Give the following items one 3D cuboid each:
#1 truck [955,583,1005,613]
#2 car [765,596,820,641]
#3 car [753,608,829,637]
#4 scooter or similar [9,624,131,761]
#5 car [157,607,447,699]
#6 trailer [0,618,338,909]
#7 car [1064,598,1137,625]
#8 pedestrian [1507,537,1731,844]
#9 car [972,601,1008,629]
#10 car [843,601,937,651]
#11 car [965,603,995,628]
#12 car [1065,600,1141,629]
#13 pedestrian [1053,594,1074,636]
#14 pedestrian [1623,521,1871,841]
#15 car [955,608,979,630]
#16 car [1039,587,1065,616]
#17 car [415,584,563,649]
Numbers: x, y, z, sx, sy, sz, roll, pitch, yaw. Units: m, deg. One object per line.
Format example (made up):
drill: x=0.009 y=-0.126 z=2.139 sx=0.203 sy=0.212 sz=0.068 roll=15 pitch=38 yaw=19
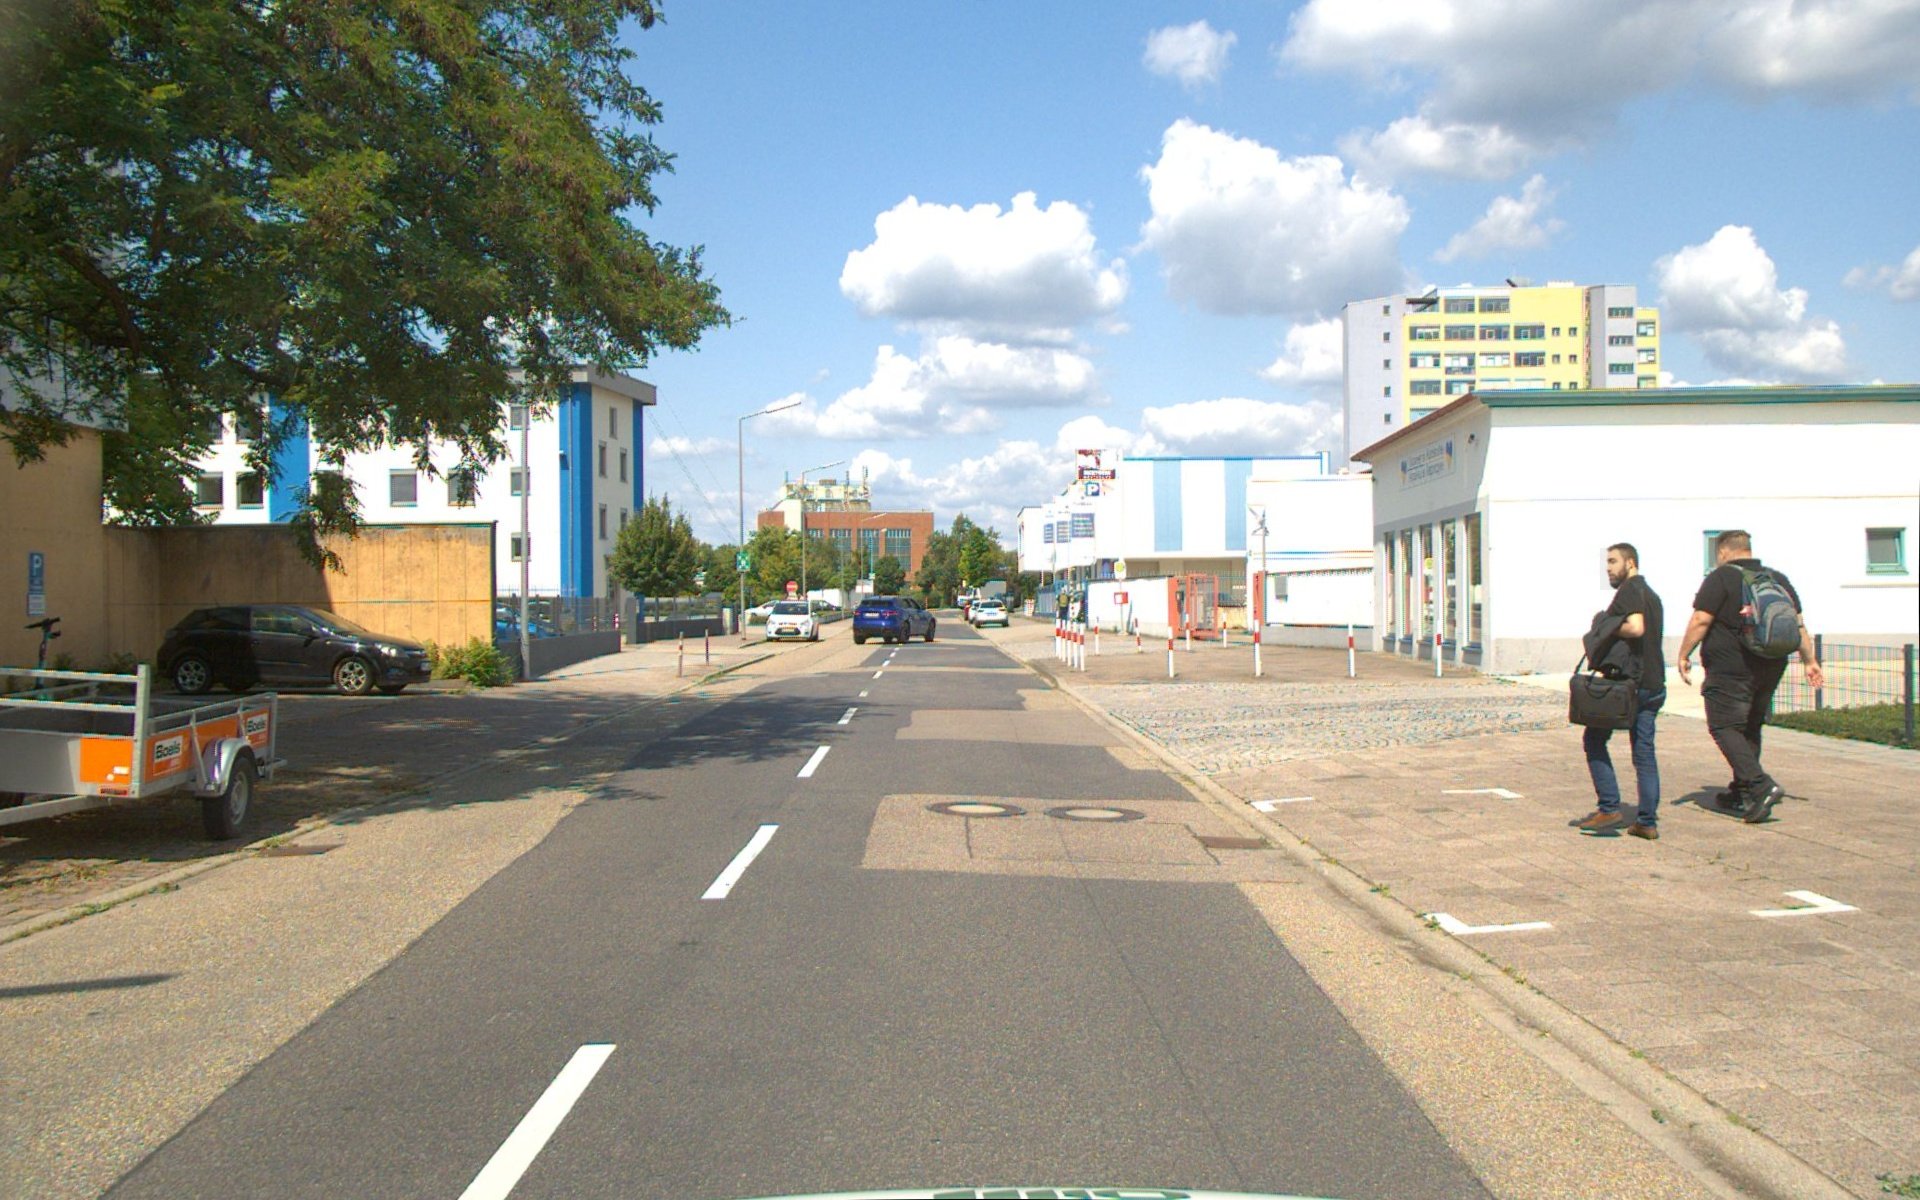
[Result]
truck: x=2.617 y=-0.281 z=210.846 sx=2.277 sy=3.629 sz=9.351 roll=1 pitch=1 yaw=29
car: x=-6.654 y=0.717 z=66.069 sx=1.830 sy=1.738 sz=4.751 roll=0 pitch=0 yaw=-2
car: x=-10.651 y=1.418 z=104.725 sx=4.662 sy=1.630 sz=1.998 roll=-2 pitch=0 yaw=-5
scooter or similar: x=-8.984 y=0.909 z=16.740 sx=0.472 sy=1.301 sz=1.360 roll=2 pitch=0 yaw=-1
car: x=-10.503 y=0.832 z=26.568 sx=3.910 sy=1.386 sz=1.795 roll=-1 pitch=-1 yaw=2
trailer: x=-5.817 y=0.898 z=10.995 sx=1.731 sy=1.464 sz=4.335 roll=2 pitch=0 yaw=-1
car: x=8.412 y=0.676 z=99.303 sx=4.192 sy=1.445 sz=2.000 roll=-1 pitch=0 yaw=-1
pedestrian: x=4.191 y=0.540 z=10.569 sx=0.845 sy=1.839 sz=0.998 roll=-1 pitch=0 yaw=-24
car: x=1.678 y=0.844 z=92.969 sx=1.830 sy=1.547 sz=4.596 roll=0 pitch=0 yaw=-2
car: x=-2.437 y=0.907 z=59.267 sx=1.869 sy=1.621 sz=4.704 roll=-2 pitch=0 yaw=17
car: x=1.252 y=0.956 z=105.650 sx=1.798 sy=1.547 sz=4.460 roll=0 pitch=0 yaw=-2
car: x=7.725 y=0.792 z=89.361 sx=3.906 sy=1.445 sz=2.000 roll=-1 pitch=0 yaw=-1
pedestrian: x=4.579 y=0.662 z=73.074 sx=0.754 sy=1.787 sz=0.787 roll=-3 pitch=0 yaw=-2
pedestrian: x=5.202 y=0.498 z=10.976 sx=0.976 sy=1.986 sz=1.083 roll=-1 pitch=0 yaw=-24
car: x=0.537 y=1.410 z=124.586 sx=1.719 sy=1.679 sz=4.678 roll=0 pitch=0 yaw=1
car: x=7.934 y=0.146 z=142.493 sx=1.885 sy=2.507 sz=5.258 roll=0 pitch=0 yaw=-1
car: x=-13.073 y=0.452 z=46.047 sx=3.574 sy=1.738 sz=1.878 roll=-1 pitch=0 yaw=-2
